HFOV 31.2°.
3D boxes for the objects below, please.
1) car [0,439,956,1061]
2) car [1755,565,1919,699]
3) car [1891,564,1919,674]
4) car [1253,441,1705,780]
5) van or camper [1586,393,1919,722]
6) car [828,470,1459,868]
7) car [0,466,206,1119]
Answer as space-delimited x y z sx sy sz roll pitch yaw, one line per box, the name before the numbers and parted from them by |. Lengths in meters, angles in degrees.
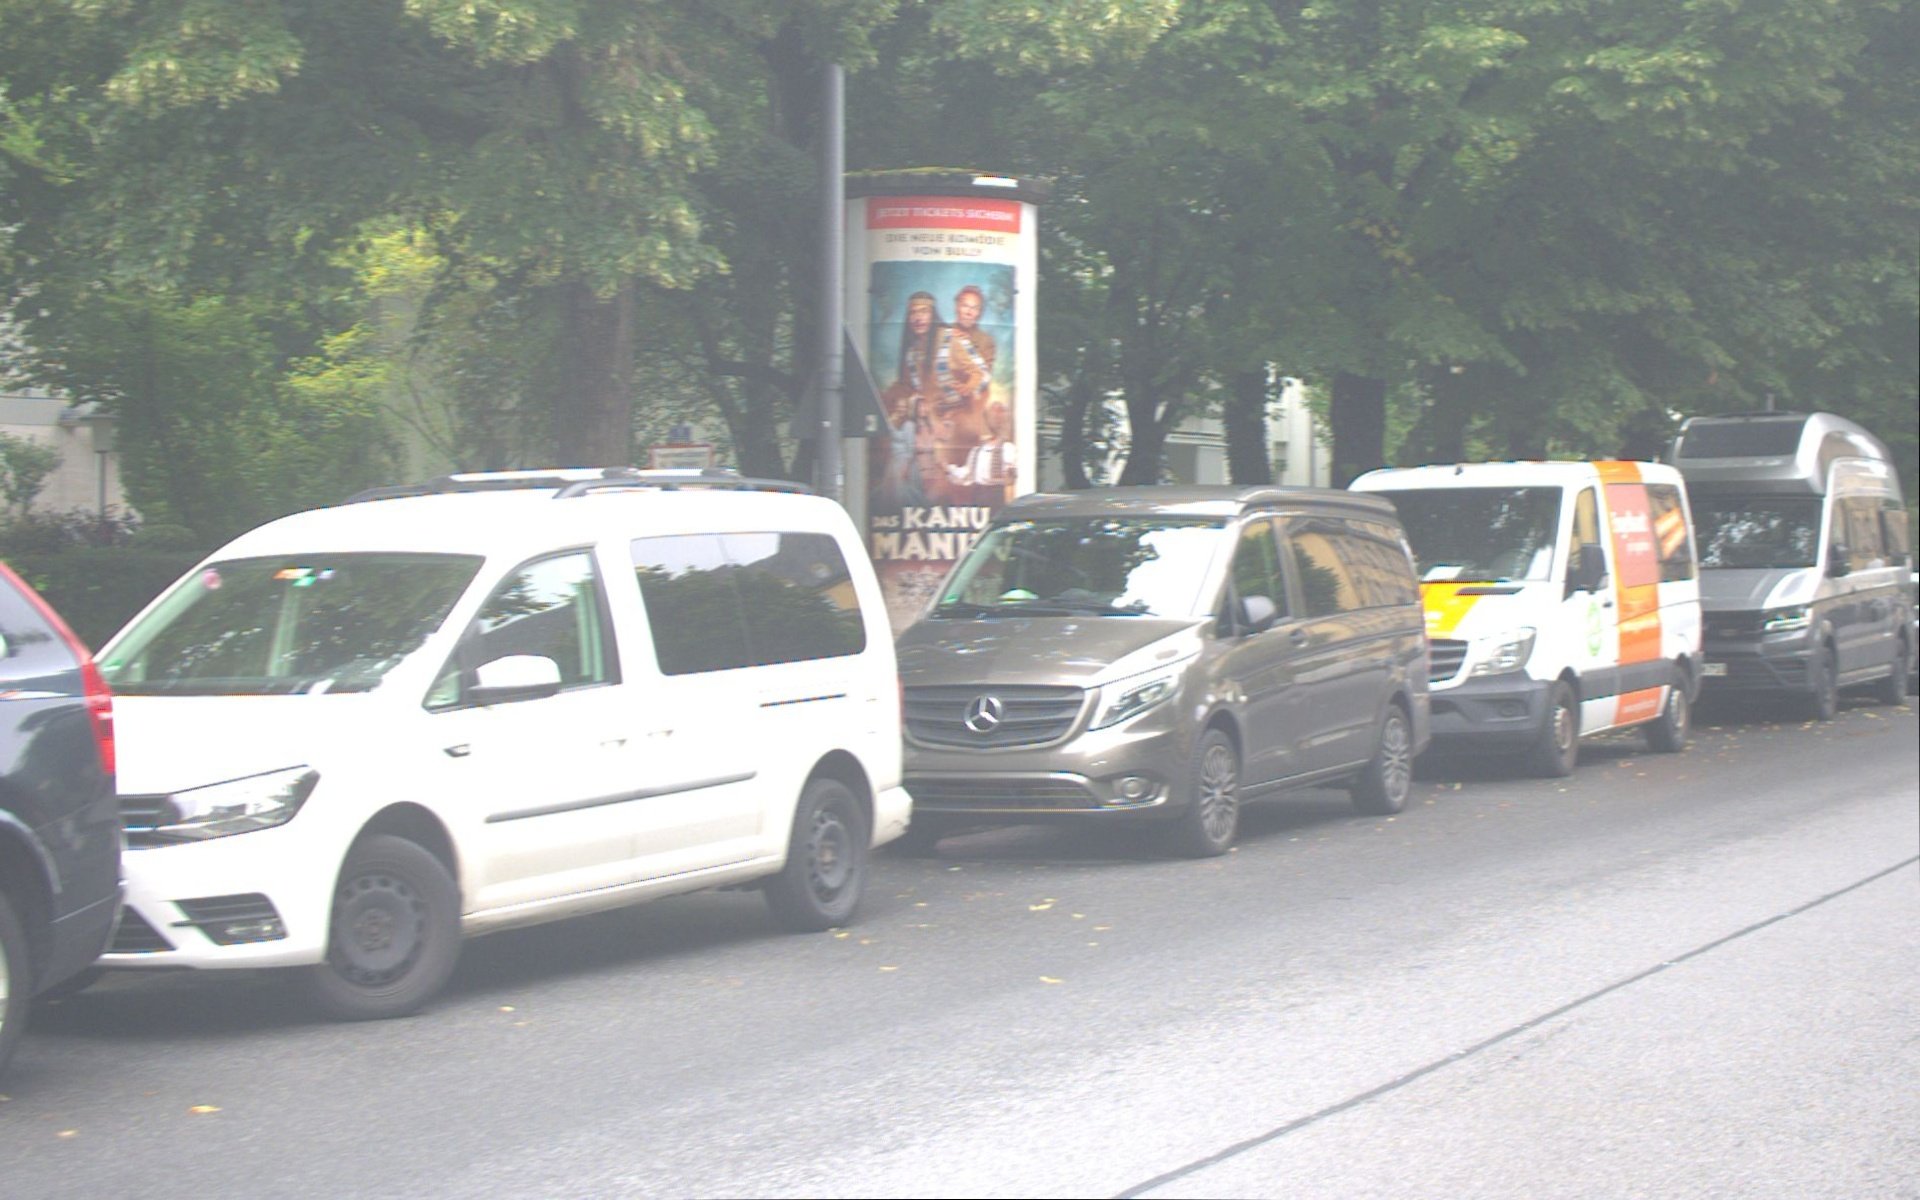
car | -1.918 0.433 13.141 1.832 1.912 4.842 0 1 26
car | 10.444 0.323 39.237 1.877 1.412 3.995 1 1 25
car | 13.240 0.224 44.042 1.877 1.343 3.995 1 1 25
car | 4.020 0.041 25.774 1.949 2.265 5.236 0 1 25
van or camper | 7.914 -0.411 33.815 2.003 2.935 6.002 0 1 25
car | 1.221 0.304 19.381 1.889 1.927 5.202 0 1 23
car | -4.248 0.548 8.451 1.996 1.785 4.906 0 1 27
